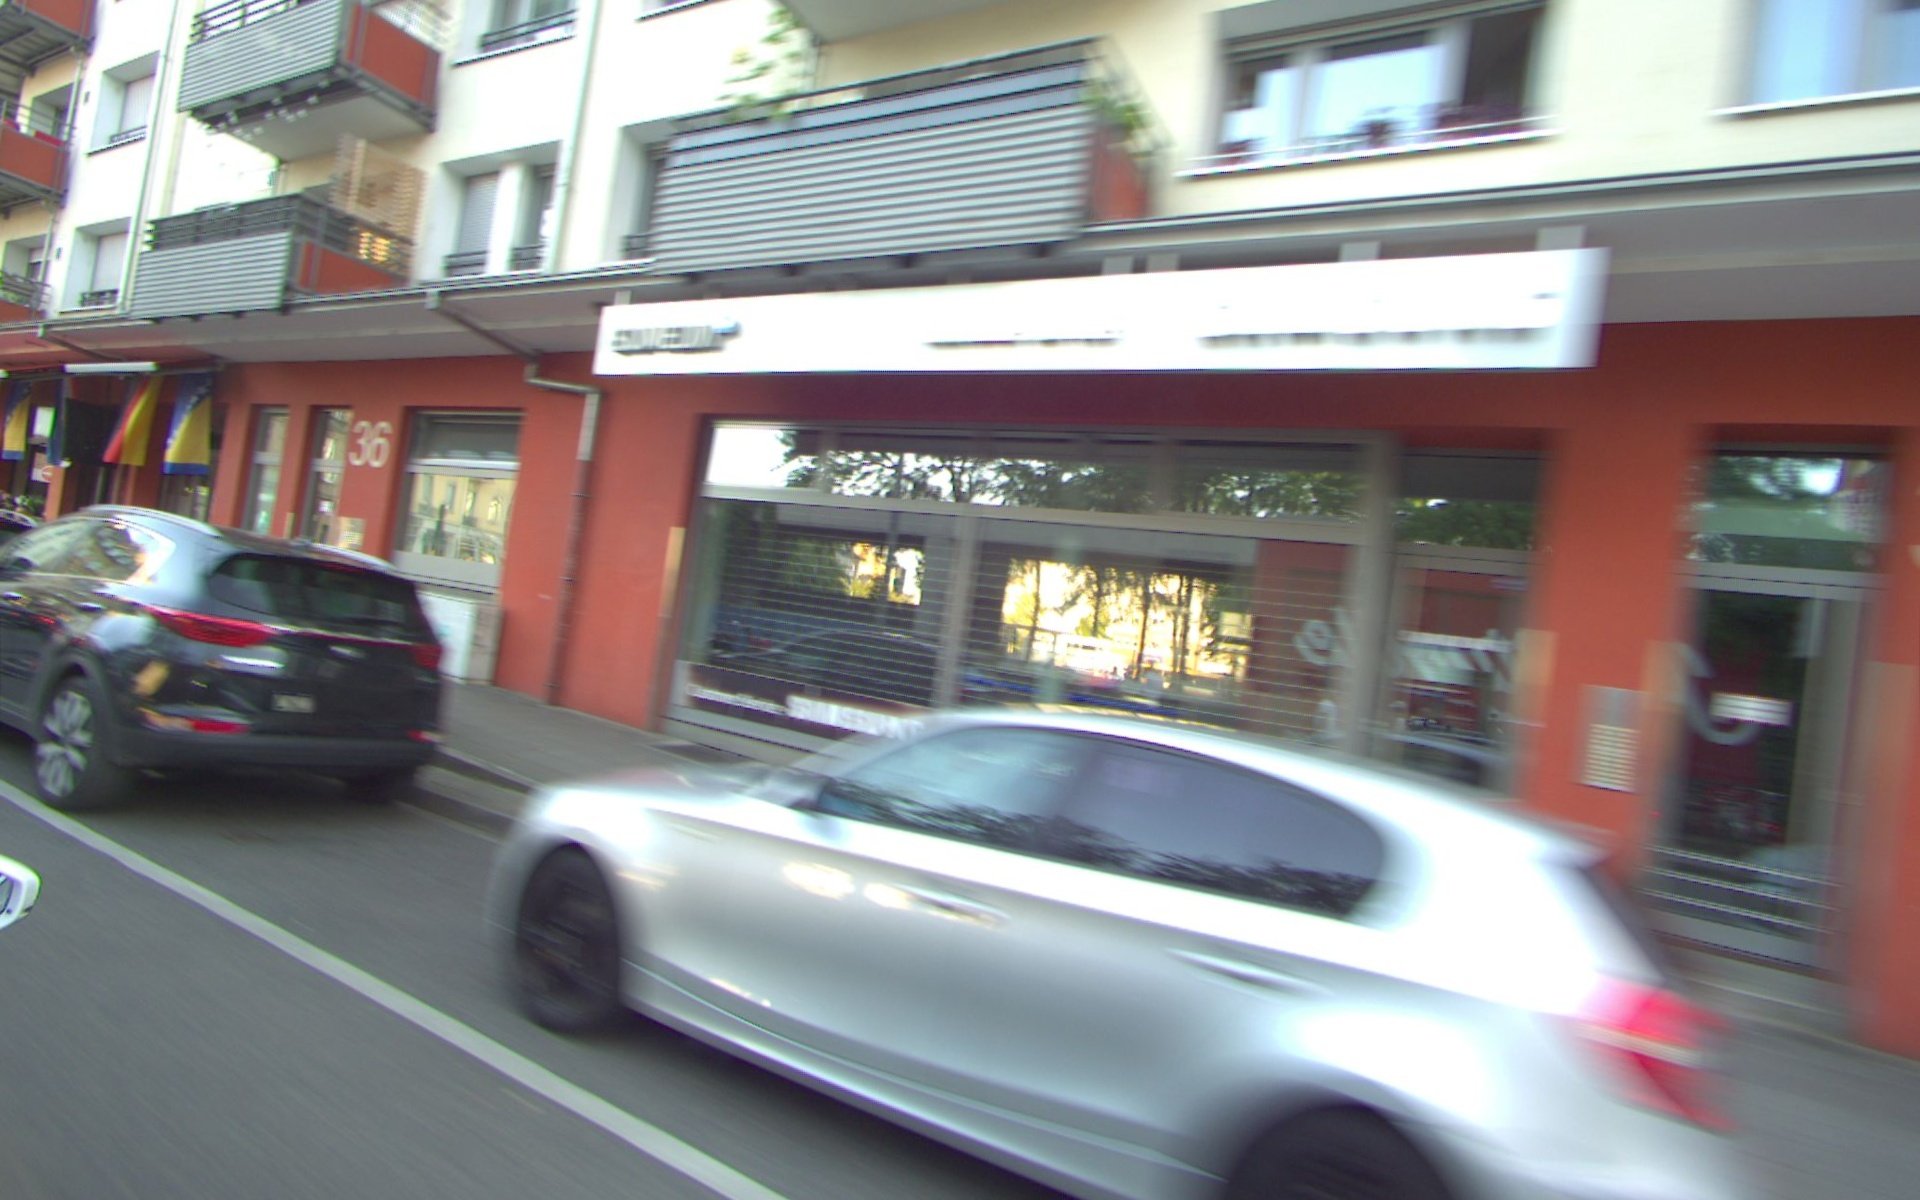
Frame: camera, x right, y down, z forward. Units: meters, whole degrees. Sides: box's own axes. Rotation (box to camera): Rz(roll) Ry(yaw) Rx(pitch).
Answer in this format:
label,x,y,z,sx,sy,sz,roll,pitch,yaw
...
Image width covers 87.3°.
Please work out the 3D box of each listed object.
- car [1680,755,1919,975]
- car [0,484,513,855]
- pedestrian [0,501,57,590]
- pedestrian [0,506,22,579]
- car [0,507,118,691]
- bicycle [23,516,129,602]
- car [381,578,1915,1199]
label,x,y,z,sx,sy,sz,roll,pitch,yaw
car,8.200,2.277,7.878,3.935,1.352,1.743,7,-2,33
car,-5.407,0.266,6.792,4.710,1.659,1.771,8,-4,31
pedestrian,-15.560,-0.911,16.661,0.684,1.364,0.608,7,0,30
pedestrian,-17.224,-1.052,17.731,0.702,1.239,0.780,7,1,31
car,-10.354,-0.309,9.752,4.710,1.517,1.771,7,-4,31
bicycle,-13.640,-0.640,15.512,1.713,1.167,0.537,5,-1,26
car,0.148,1.019,3.647,4.382,1.467,1.705,8,-4,29
